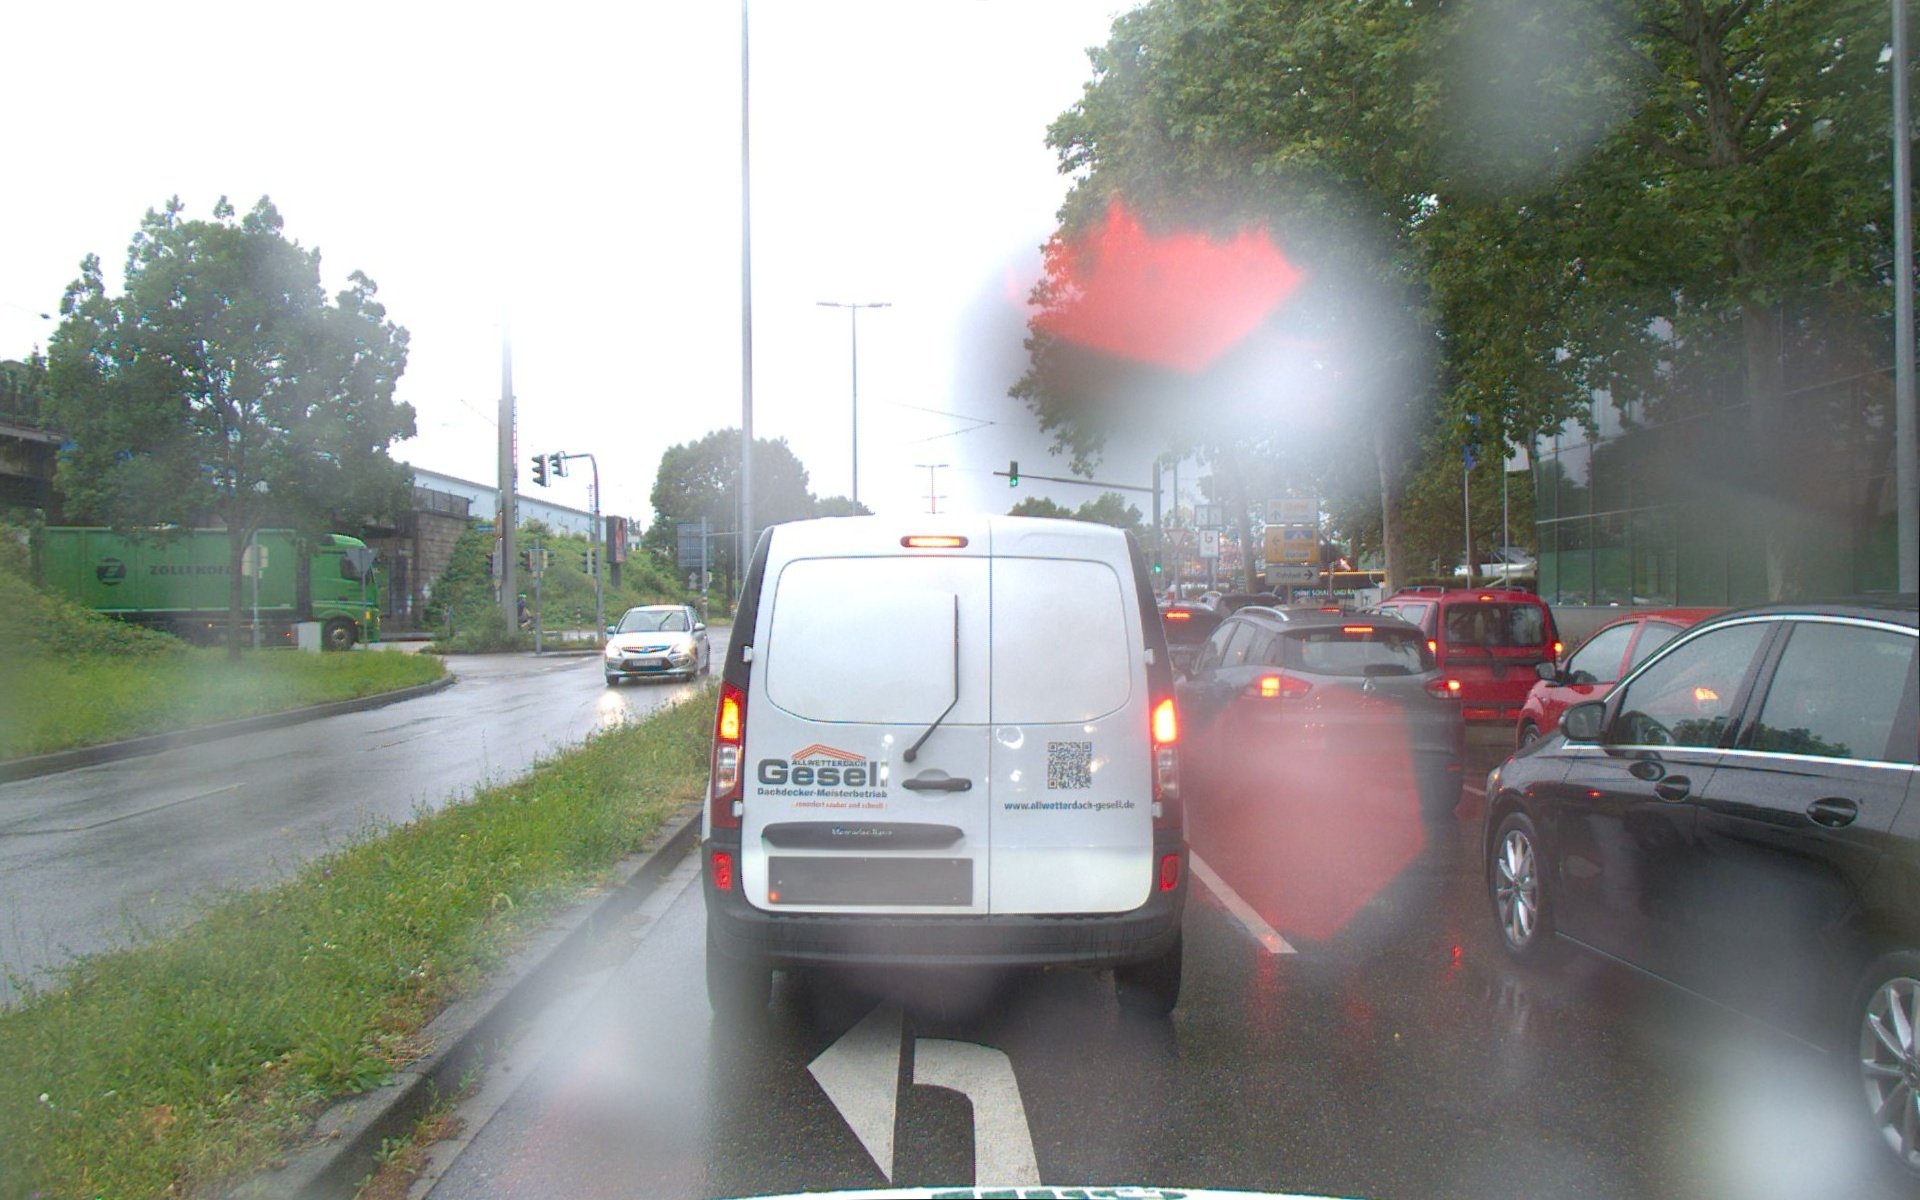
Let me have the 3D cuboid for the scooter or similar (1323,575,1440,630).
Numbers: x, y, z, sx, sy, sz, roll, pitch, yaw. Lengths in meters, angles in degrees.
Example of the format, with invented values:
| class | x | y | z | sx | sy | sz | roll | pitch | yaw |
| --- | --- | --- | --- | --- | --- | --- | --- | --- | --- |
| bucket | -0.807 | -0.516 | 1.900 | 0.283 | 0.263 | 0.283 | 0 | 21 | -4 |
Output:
| class | x | y | z | sx | sy | sz | roll | pitch | yaw |
| --- | --- | --- | --- | --- | --- | --- | --- | --- | --- |
| scooter or similar | 19.663 | 0.095 | 77.358 | 1.878 | 2.489 | 5.239 | 0 | 0 | -41 |

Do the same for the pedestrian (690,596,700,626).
| class | x | y | z | sx | sy | sz | roll | pitch | yaw |
| --- | --- | --- | --- | --- | --- | --- | --- | --- | --- |
| pedestrian | -15.367 | 0.622 | 95.900 | 0.532 | 1.746 | 0.563 | 1 | -1 | -5 |

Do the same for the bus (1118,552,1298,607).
| class | x | y | z | sx | sy | sz | roll | pitch | yaw |
| --- | --- | --- | --- | --- | --- | --- | --- | --- | --- |
| bus | 16.588 | -1.402 | 111.149 | 11.727 | 3.483 | 2.315 | -1 | 1 | -1 |

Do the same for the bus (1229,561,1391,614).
| class | x | y | z | sx | sy | sz | roll | pitch | yaw |
| --- | --- | --- | --- | --- | --- | --- | --- | --- | --- |
| bus | 24.853 | -0.938 | 117.257 | 11.798 | 3.483 | 2.468 | -1 | 1 | -21 |

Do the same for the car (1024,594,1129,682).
| class | x | y | z | sx | sy | sz | roll | pitch | yaw |
| --- | --- | --- | --- | --- | --- | --- | --- | --- | --- |
| car | 2.304 | 0.731 | 33.544 | 1.816 | 1.678 | 3.842 | 0 | 0 | -1 |

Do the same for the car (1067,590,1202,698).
| class | x | y | z | sx | sy | sz | roll | pitch | yaw |
| --- | --- | --- | --- | --- | --- | --- | --- | --- | --- |
| car | 2.869 | 0.679 | 27.890 | 1.816 | 1.678 | 3.842 | 0 | 0 | -1 |

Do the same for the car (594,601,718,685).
| class | x | y | z | sx | sy | sz | roll | pitch | yaw |
| --- | --- | --- | --- | --- | --- | --- | --- | --- | --- |
| car | -5.999 | 0.811 | 33.081 | 1.779 | 1.488 | 3.999 | -3 | 0 | -2 |

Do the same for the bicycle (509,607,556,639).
| class | x | y | z | sx | sy | sz | roll | pitch | yaw |
| --- | --- | --- | --- | --- | --- | --- | --- | --- | --- |
| bicycle | -14.335 | 0.761 | 55.349 | 1.027 | 0.968 | 2.865 | -1 | 1 | -25 |

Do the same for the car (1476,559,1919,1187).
| class | x | y | z | sx | sy | sz | roll | pitch | yaw |
| --- | --- | --- | --- | --- | --- | --- | --- | --- | --- |
| car | 3.243 | 0.689 | 5.444 | 1.712 | 1.582 | 4.089 | 0 | 0 | -2 |

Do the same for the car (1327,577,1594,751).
| class | x | y | z | sx | sy | sz | roll | pitch | yaw |
| --- | --- | --- | --- | --- | --- | --- | --- | --- | --- |
| car | 5.510 | 0.665 | 18.768 | 1.676 | 1.724 | 4.271 | 1 | -1 | -1 |

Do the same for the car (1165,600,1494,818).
| class | x | y | z | sx | sy | sz | roll | pitch | yaw |
| --- | --- | --- | --- | --- | --- | --- | --- | --- | --- |
| car | 2.756 | 0.743 | 13.166 | 1.649 | 1.433 | 3.842 | 1 | 0 | -2 |

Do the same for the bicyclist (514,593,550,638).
| class | x | y | z | sx | sy | sz | roll | pitch | yaw |
| --- | --- | --- | --- | --- | --- | --- | --- | --- | --- |
| bicyclist | -14.311 | 0.509 | 55.277 | 1.028 | 1.475 | 0.723 | -1 | 1 | -26 |

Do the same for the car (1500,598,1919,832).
| class | x | y | z | sx | sy | sz | roll | pitch | yaw |
| --- | --- | --- | --- | --- | --- | --- | --- | --- | --- |
| car | 5.414 | 0.747 | 12.388 | 1.537 | 1.488 | 3.388 | 0 | 0 | -2 |

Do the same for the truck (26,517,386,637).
| class | x | y | z | sx | sy | sz | roll | pitch | yaw |
| --- | --- | --- | --- | --- | --- | --- | --- | --- | --- |
| truck | -23.159 | -0.689 | 51.327 | 9.957 | 3.430 | 2.316 | 0 | 0 | -37 |

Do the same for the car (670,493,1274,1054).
| class | x | y | z | sx | sy | sz | roll | pitch | yaw |
| --- | --- | --- | --- | --- | --- | --- | --- | --- | --- |
| car | 0.010 | 0.541 | 7.639 | 1.953 | 1.807 | 4.584 | 0 | 0 | -1 |

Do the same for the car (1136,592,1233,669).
| class | x | y | z | sx | sy | sz | roll | pitch | yaw |
| --- | --- | --- | --- | --- | --- | --- | --- | --- | --- |
| car | 5.169 | 0.678 | 38.542 | 1.674 | 1.678 | 3.842 | 1 | 0 | -1 |

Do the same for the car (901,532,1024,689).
| class | x | y | z | sx | sy | sz | roll | pitch | yaw |
| --- | --- | --- | --- | --- | --- | --- | --- | --- | --- |
| car | 0.013 | 0.140 | 26.408 | 1.816 | 2.336 | 3.842 | 0 | 0 | -1 |

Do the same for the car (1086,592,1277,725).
| class | x | y | z | sx | sy | sz | roll | pitch | yaw |
| --- | --- | --- | --- | --- | --- | --- | --- | --- | --- |
| car | 2.658 | 0.651 | 20.660 | 1.816 | 1.486 | 3.842 | 0 | 0 | -1 |
